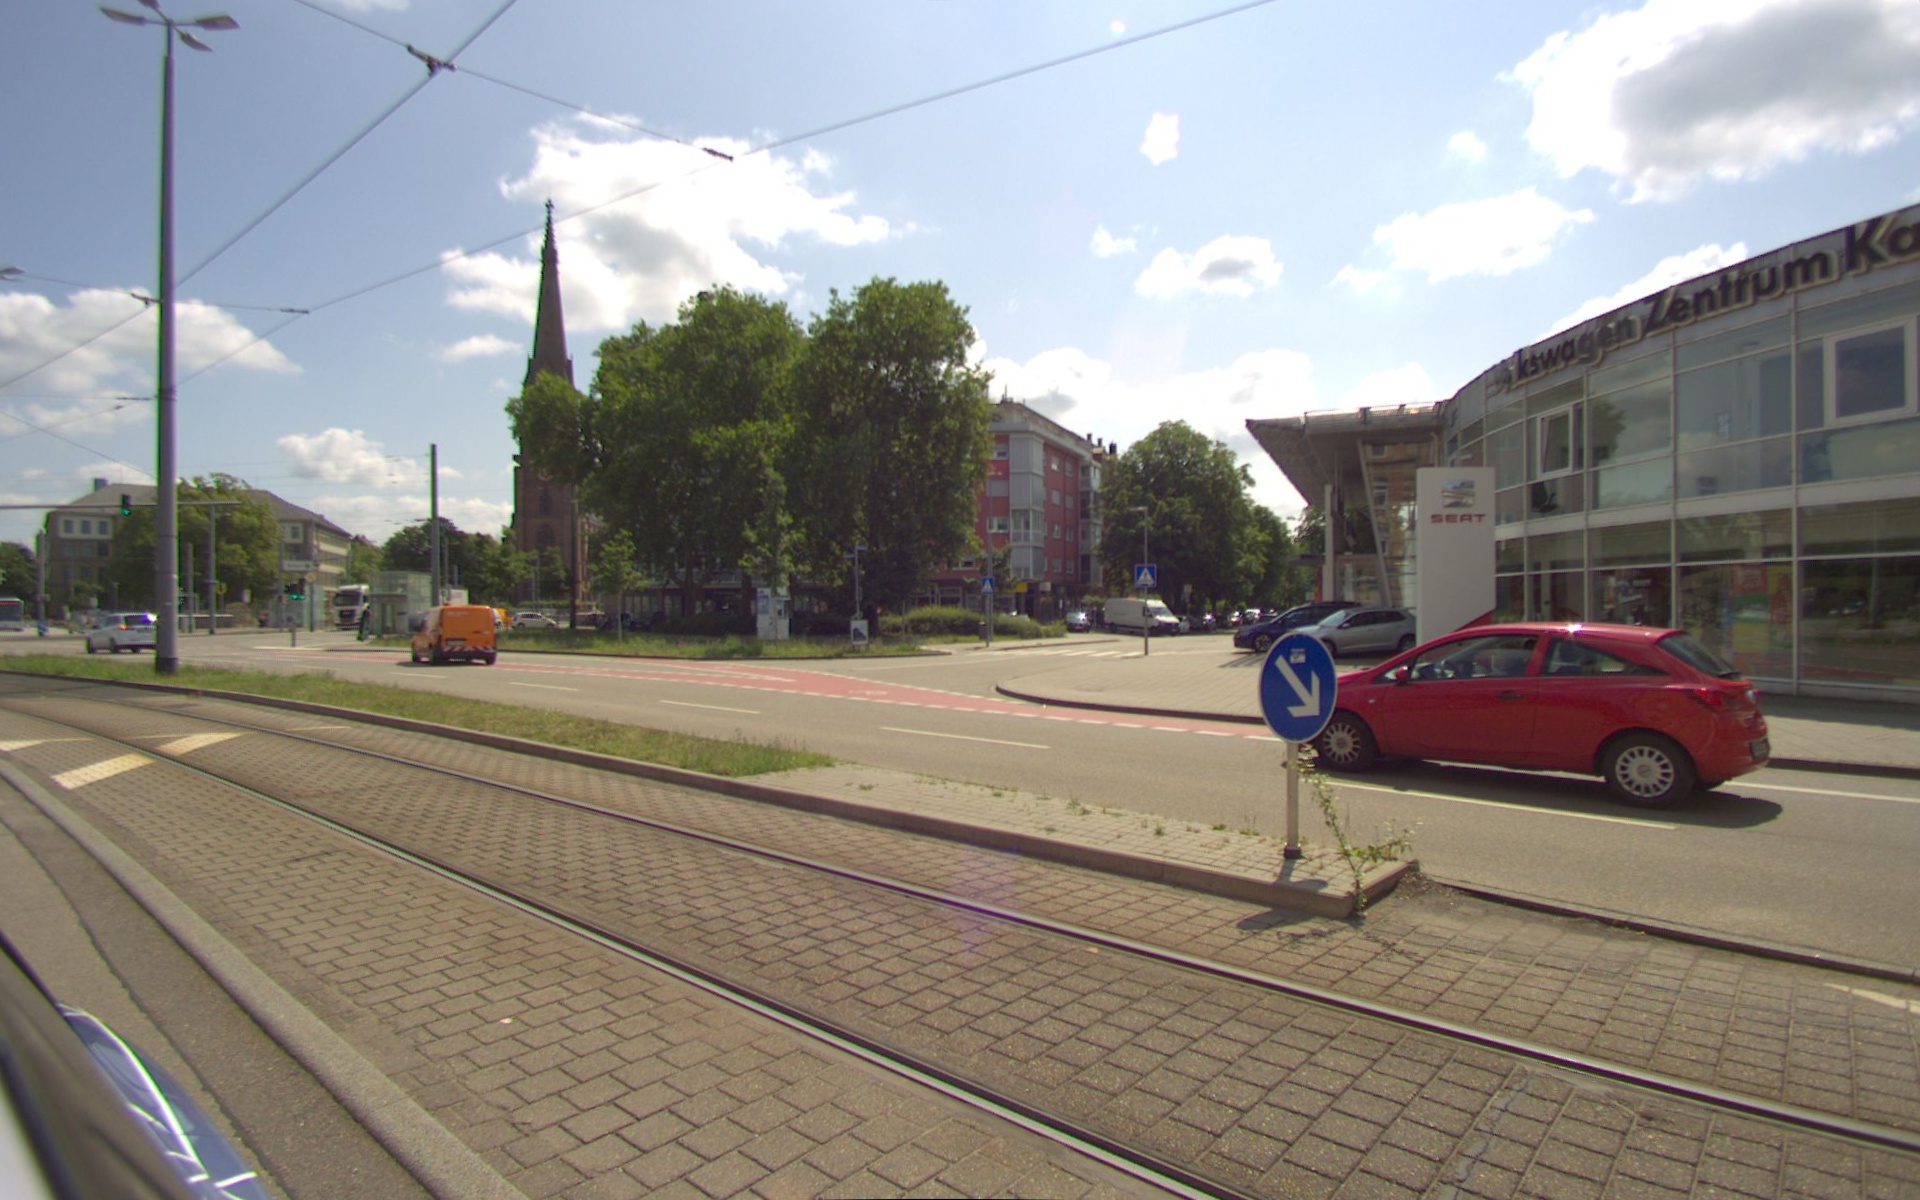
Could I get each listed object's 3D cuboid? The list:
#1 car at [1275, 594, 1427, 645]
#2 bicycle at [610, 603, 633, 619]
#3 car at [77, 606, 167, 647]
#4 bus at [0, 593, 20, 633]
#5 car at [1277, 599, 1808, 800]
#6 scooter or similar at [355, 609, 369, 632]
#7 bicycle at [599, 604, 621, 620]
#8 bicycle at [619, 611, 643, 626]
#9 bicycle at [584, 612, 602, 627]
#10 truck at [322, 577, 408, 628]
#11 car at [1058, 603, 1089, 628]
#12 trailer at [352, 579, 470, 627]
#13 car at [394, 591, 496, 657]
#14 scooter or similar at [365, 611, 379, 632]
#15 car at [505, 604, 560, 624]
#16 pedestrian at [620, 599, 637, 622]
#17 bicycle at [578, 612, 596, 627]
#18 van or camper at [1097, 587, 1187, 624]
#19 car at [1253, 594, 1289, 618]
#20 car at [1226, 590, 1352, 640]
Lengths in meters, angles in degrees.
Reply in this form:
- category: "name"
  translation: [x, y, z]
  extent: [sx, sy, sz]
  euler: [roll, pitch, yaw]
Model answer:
- category: "car"
  translation: [11.835, 0.563, 30.802]
  extent: [3.890, 1.457, 1.835]
  euler: [-1, 0, -1]
- category: "bicycle"
  translation: [-25.880, 0.808, 77.276]
  extent: [1.582, 1.176, 0.493]
  euler: [-1, 0, 4]
- category: "car"
  translation: [-34.921, 1.072, 42.128]
  extent: [4.482, 1.616, 1.751]
  euler: [-1, -1, 35]
- category: "bus"
  translation: [-86.374, 1.197, 90.779]
  extent: [2.908, 3.473, 7.953]
  euler: [-1, 0, -44]
- category: "car"
  translation: [5.119, 0.757, 9.300]
  extent: [1.681, 1.439, 3.906]
  euler: [2, -2, -42]
- category: "scooter or similar"
  translation: [-31.627, 1.098, 53.534]
  extent: [0.548, 1.209, 0.457]
  euler: [-1, 0, 34]
- category: "bicycle"
  translation: [-27.940, 0.957, 80.816]
  extent: [1.582, 1.274, 0.493]
  euler: [-1, 0, 4]
- category: "bicycle"
  translation: [-24.047, 1.326, 73.988]
  extent: [1.582, 1.074, 0.493]
  euler: [-1, 0, 4]
- category: "bicycle"
  translation: [-29.859, 1.584, 82.408]
  extent: [1.256, 1.154, 0.459]
  euler: [-1, -1, 0]
- category: "truck"
  translation: [-50.364, 0.219, 85.877]
  extent: [2.926, 4.150, 6.870]
  euler: [-1, -1, 4]
- category: "car"
  translation: [8.312, 1.115, 74.237]
  extent: [1.973, 1.719, 3.997]
  euler: [-1, 0, 2]
- category: "trailer"
  translation: [-49.928, 0.325, 92.729]
  extent: [2.911, 4.107, 13.403]
  euler: [-1, -1, 4]
- category: "car"
  translation: [-16.001, 0.733, 31.347]
  extent: [1.887, 1.880, 4.375]
  euler: [1, -1, -40]
- category: "scooter or similar"
  translation: [-31.418, 1.159, 54.090]
  extent: [0.555, 1.133, 0.412]
  euler: [-1, 0, 34]
- category: "car"
  translation: [-37.060, 1.220, 87.695]
  extent: [4.105, 1.655, 1.633]
  euler: [-1, 0, -37]
- category: "pedestrian"
  translation: [-23.526, 0.756, 71.773]
  extent: [0.871, 1.572, 0.721]
  euler: [-1, -1, 12]
- category: "bicycle"
  translation: [-29.868, 1.575, 81.081]
  extent: [1.256, 1.154, 0.459]
  euler: [-1, -1, 0]
- category: "van or camper"
  translation: [13.023, 0.394, 73.095]
  extent: [2.536, 2.518, 6.701]
  euler: [-1, 0, -32]
- category: "car"
  translation: [23.515, 0.467, 76.377]
  extent: [1.989, 1.696, 3.965]
  euler: [-1, -1, 26]
- category: "car"
  translation: [10.955, 0.501, 33.929]
  extent: [3.748, 1.485, 1.654]
  euler: [-2, -1, 12]
